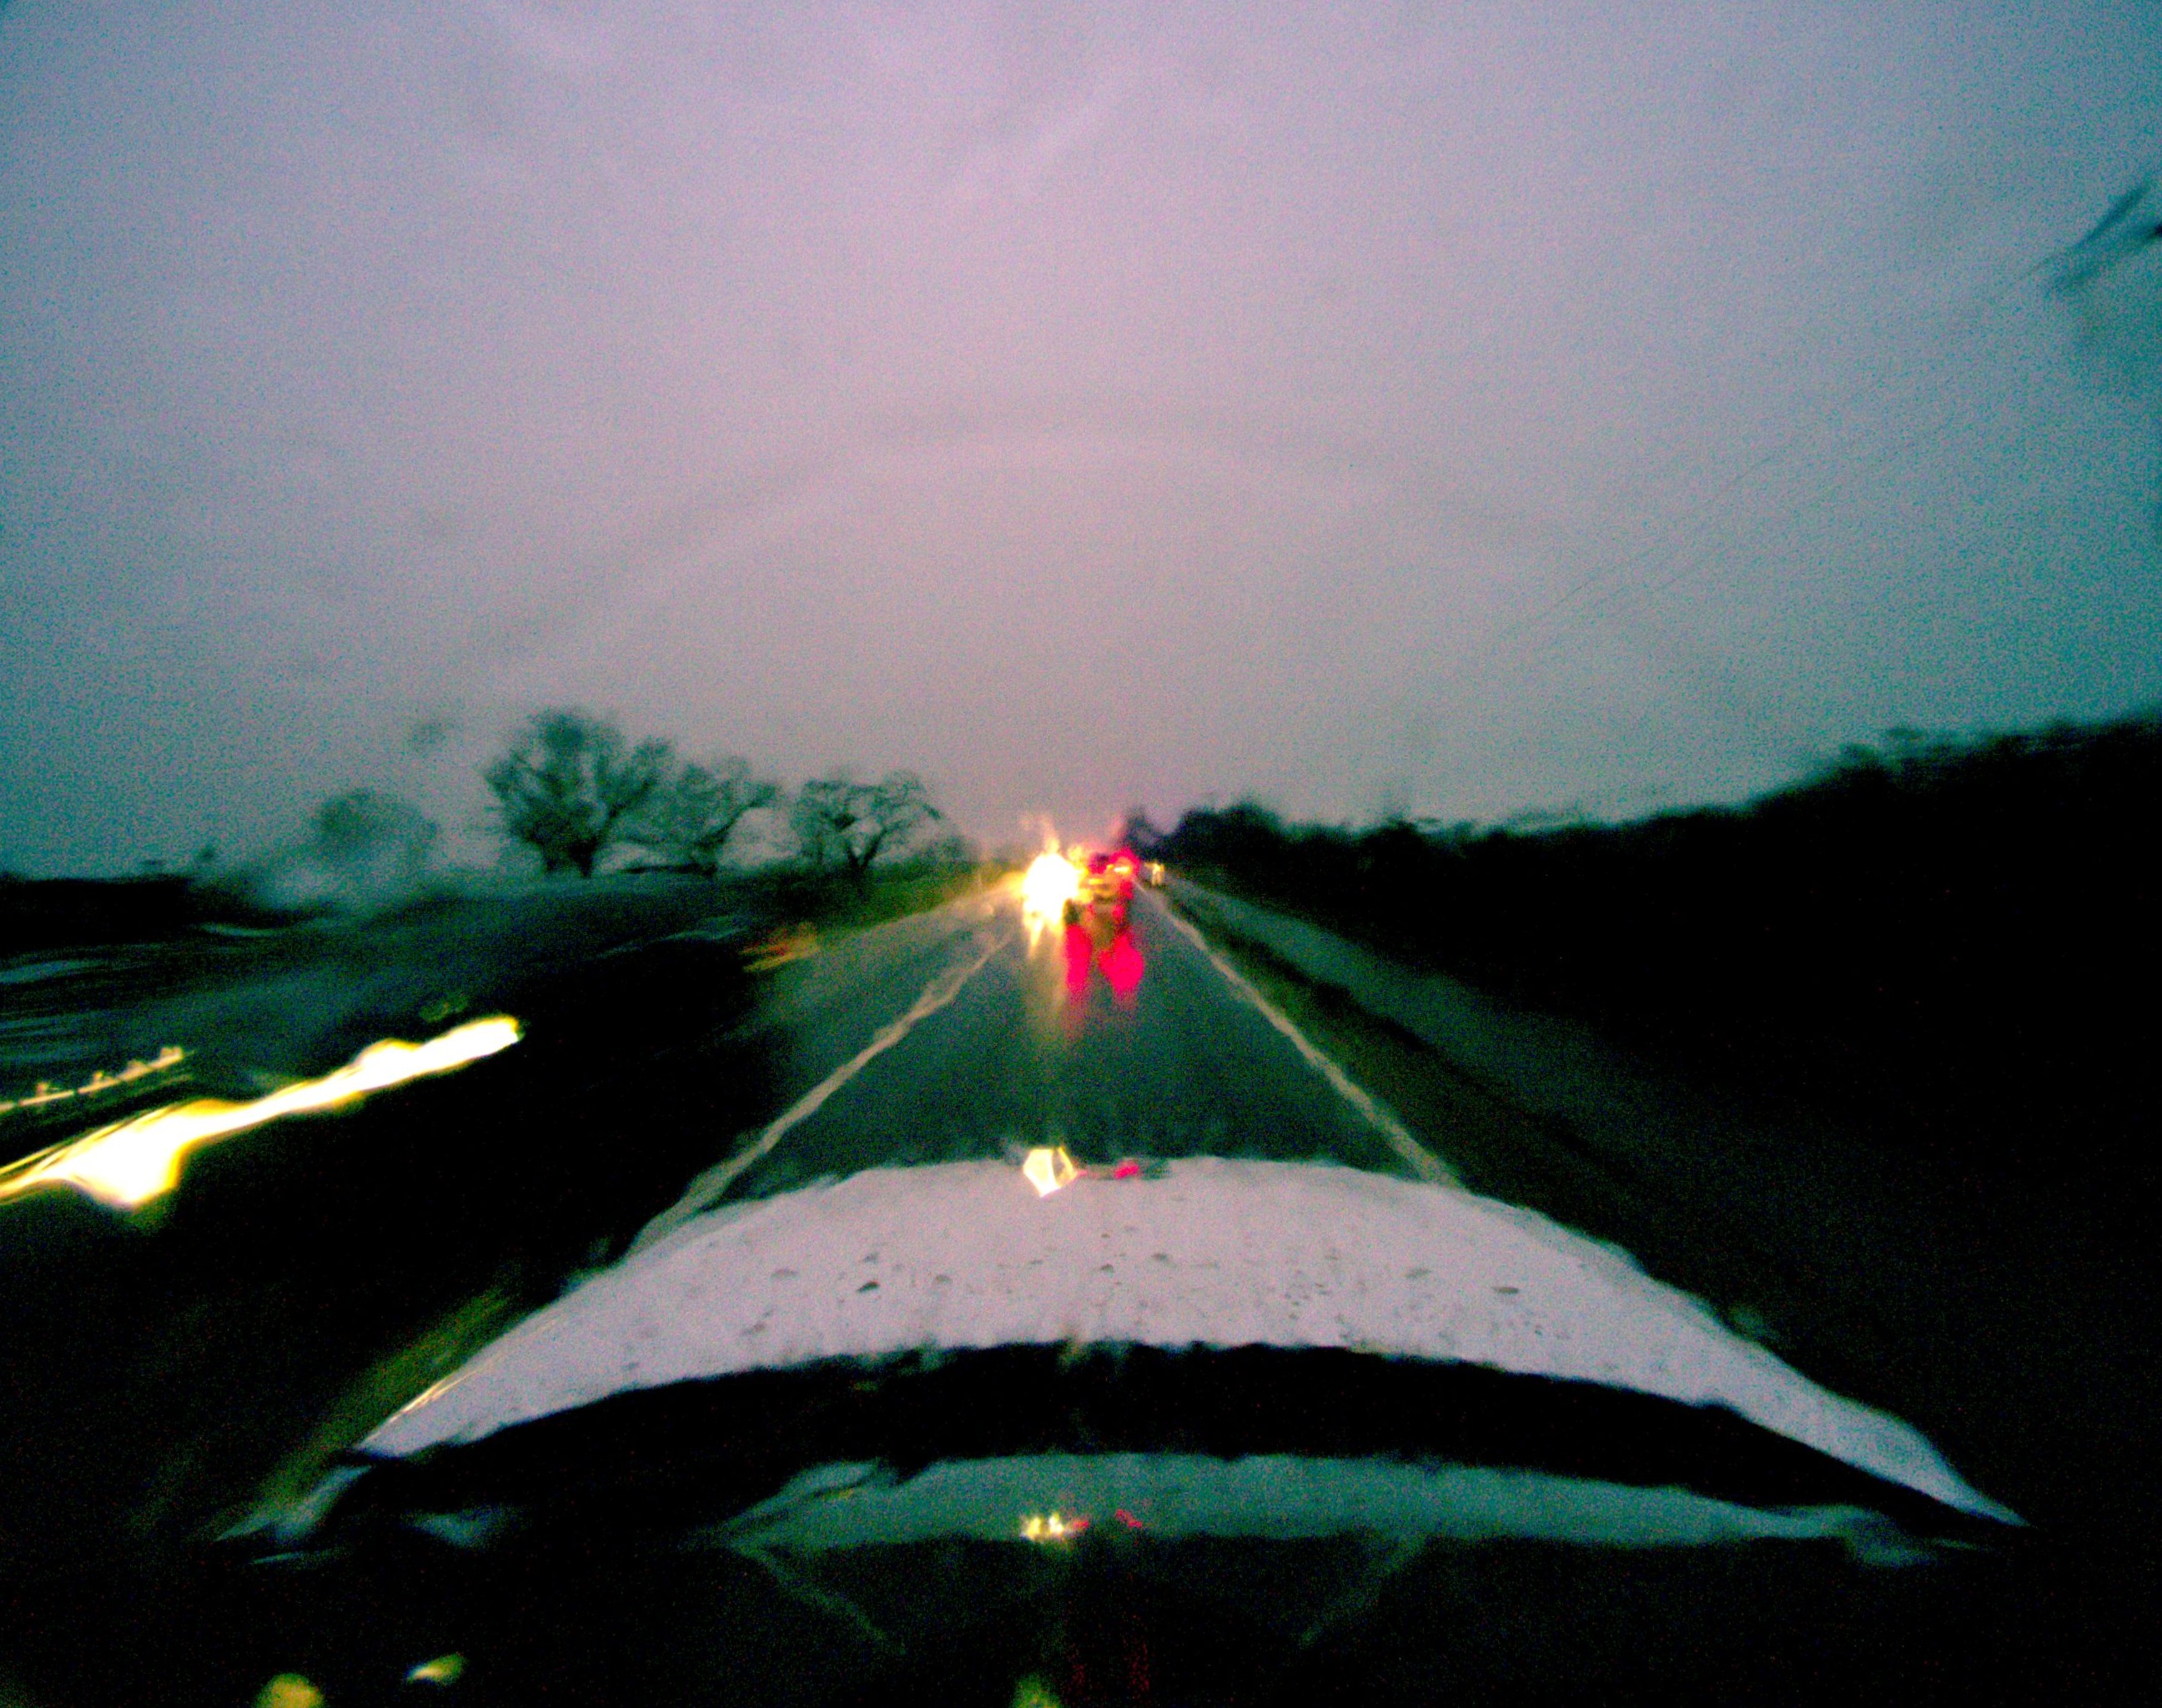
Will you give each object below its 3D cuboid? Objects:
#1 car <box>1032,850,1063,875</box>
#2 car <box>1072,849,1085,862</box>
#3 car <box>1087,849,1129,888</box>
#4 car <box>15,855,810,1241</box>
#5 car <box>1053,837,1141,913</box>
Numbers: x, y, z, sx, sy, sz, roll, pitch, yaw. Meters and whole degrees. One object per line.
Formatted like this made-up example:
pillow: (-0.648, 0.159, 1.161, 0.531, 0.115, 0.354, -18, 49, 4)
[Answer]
car: (-2.236, 0.538, 55.668, 1.755, 1.555, 4.002, -3, 0, 2)
car: (-0.382, 0.241, 126.682, 1.818, 1.806, 4.495, -3, 0, 1)
car: (1.367, 0.679, 40.839, 1.986, 1.849, 4.002, 0, 0, 2)
car: (-3.629, 0.835, 5.778, 1.849, 1.517, 4.515, -4, 0, -1)
car: (0.481, 0.499, 22.351, 2.112, 1.820, 4.982, -1, 0, 2)
